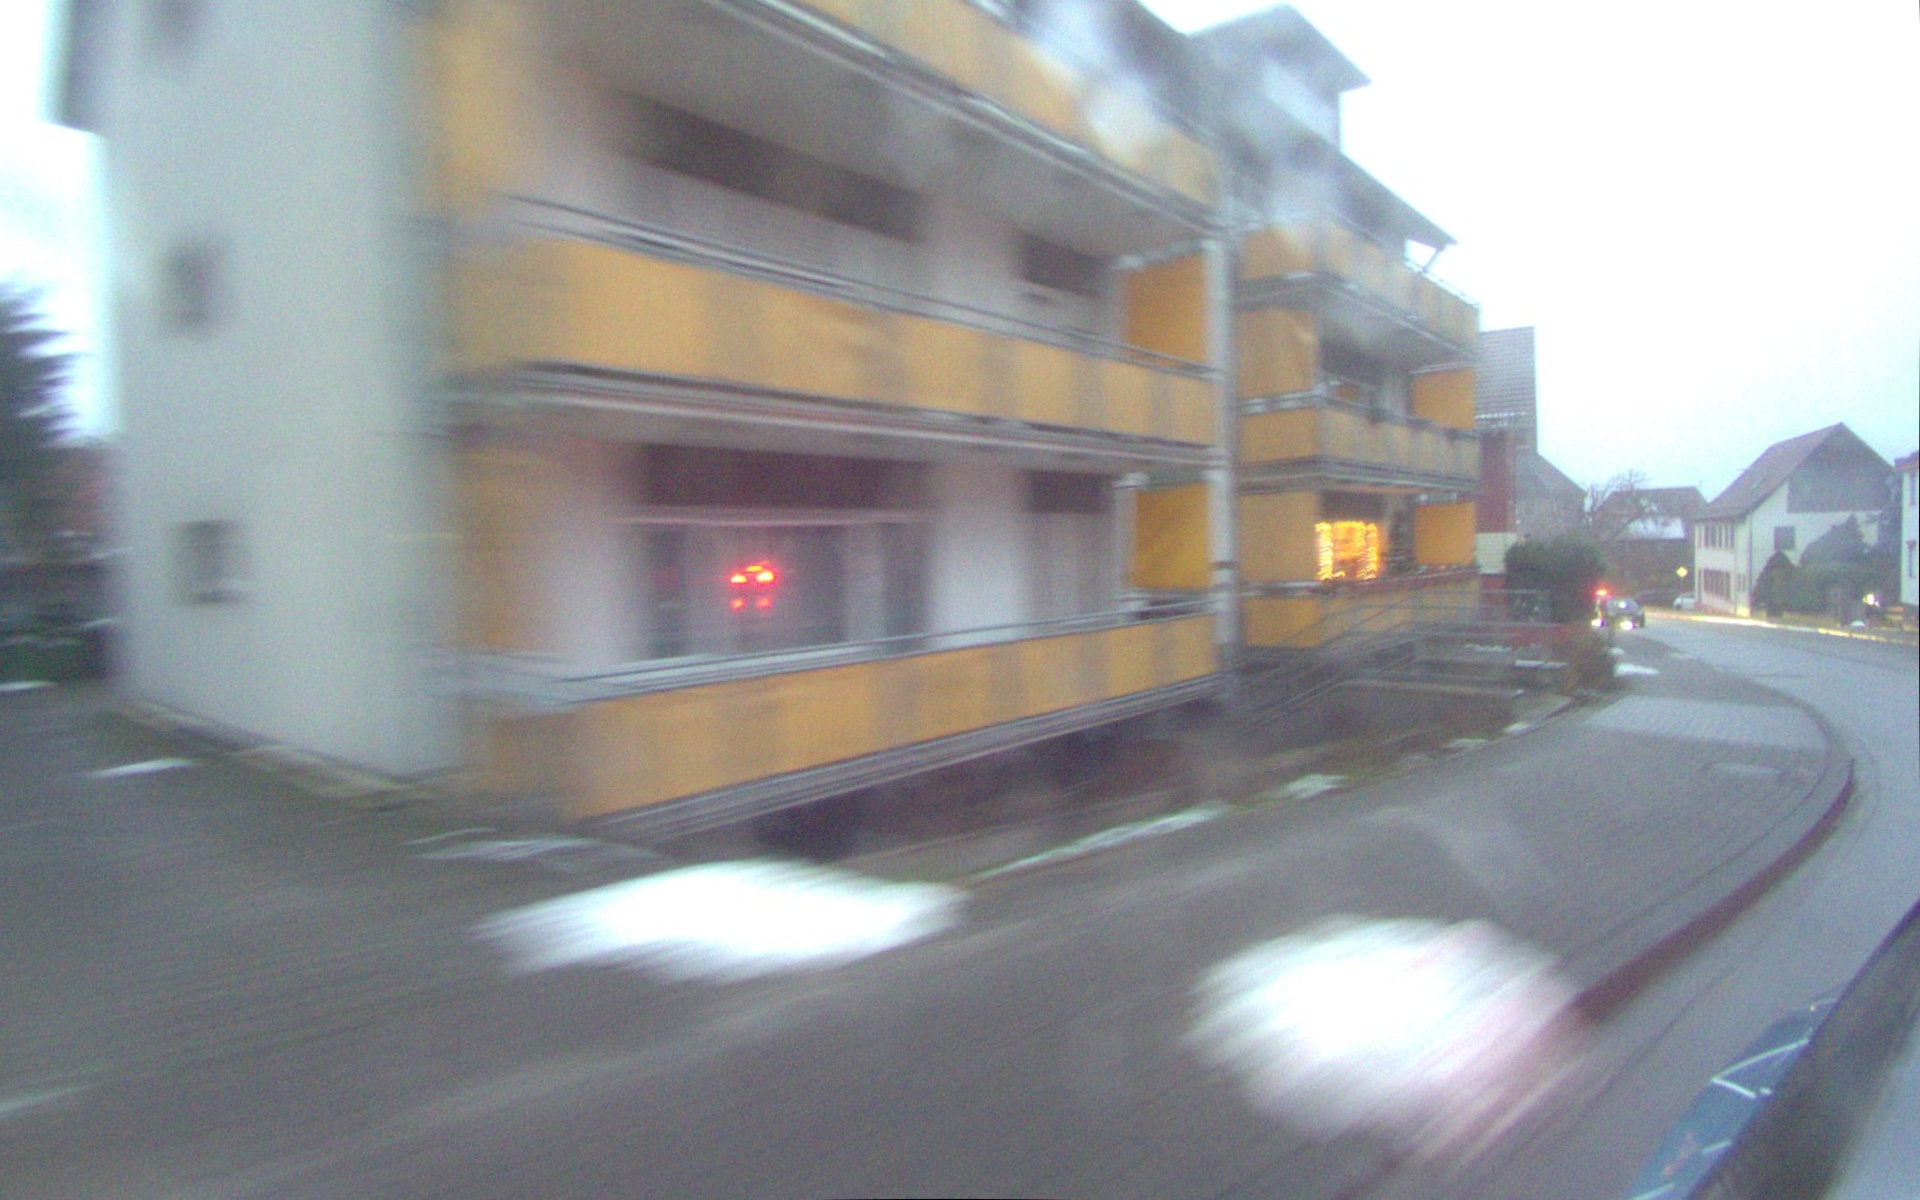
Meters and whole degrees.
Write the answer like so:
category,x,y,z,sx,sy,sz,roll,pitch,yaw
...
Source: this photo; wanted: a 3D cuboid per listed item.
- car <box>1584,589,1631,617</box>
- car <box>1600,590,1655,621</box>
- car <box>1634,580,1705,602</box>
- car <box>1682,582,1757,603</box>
category,x,y,z,sx,sy,sz,roll,pitch,yaw
car,38.077,0.140,59.590,1.777,1.457,4.582,-2,1,26
car,35.312,0.271,53.605,1.714,1.449,4.757,-2,1,25
car,57.666,-0.715,82.333,4.440,1.599,1.980,-2,0,29
car,55.489,-0.530,74.037,1.960,1.443,4.242,-2,1,-7
